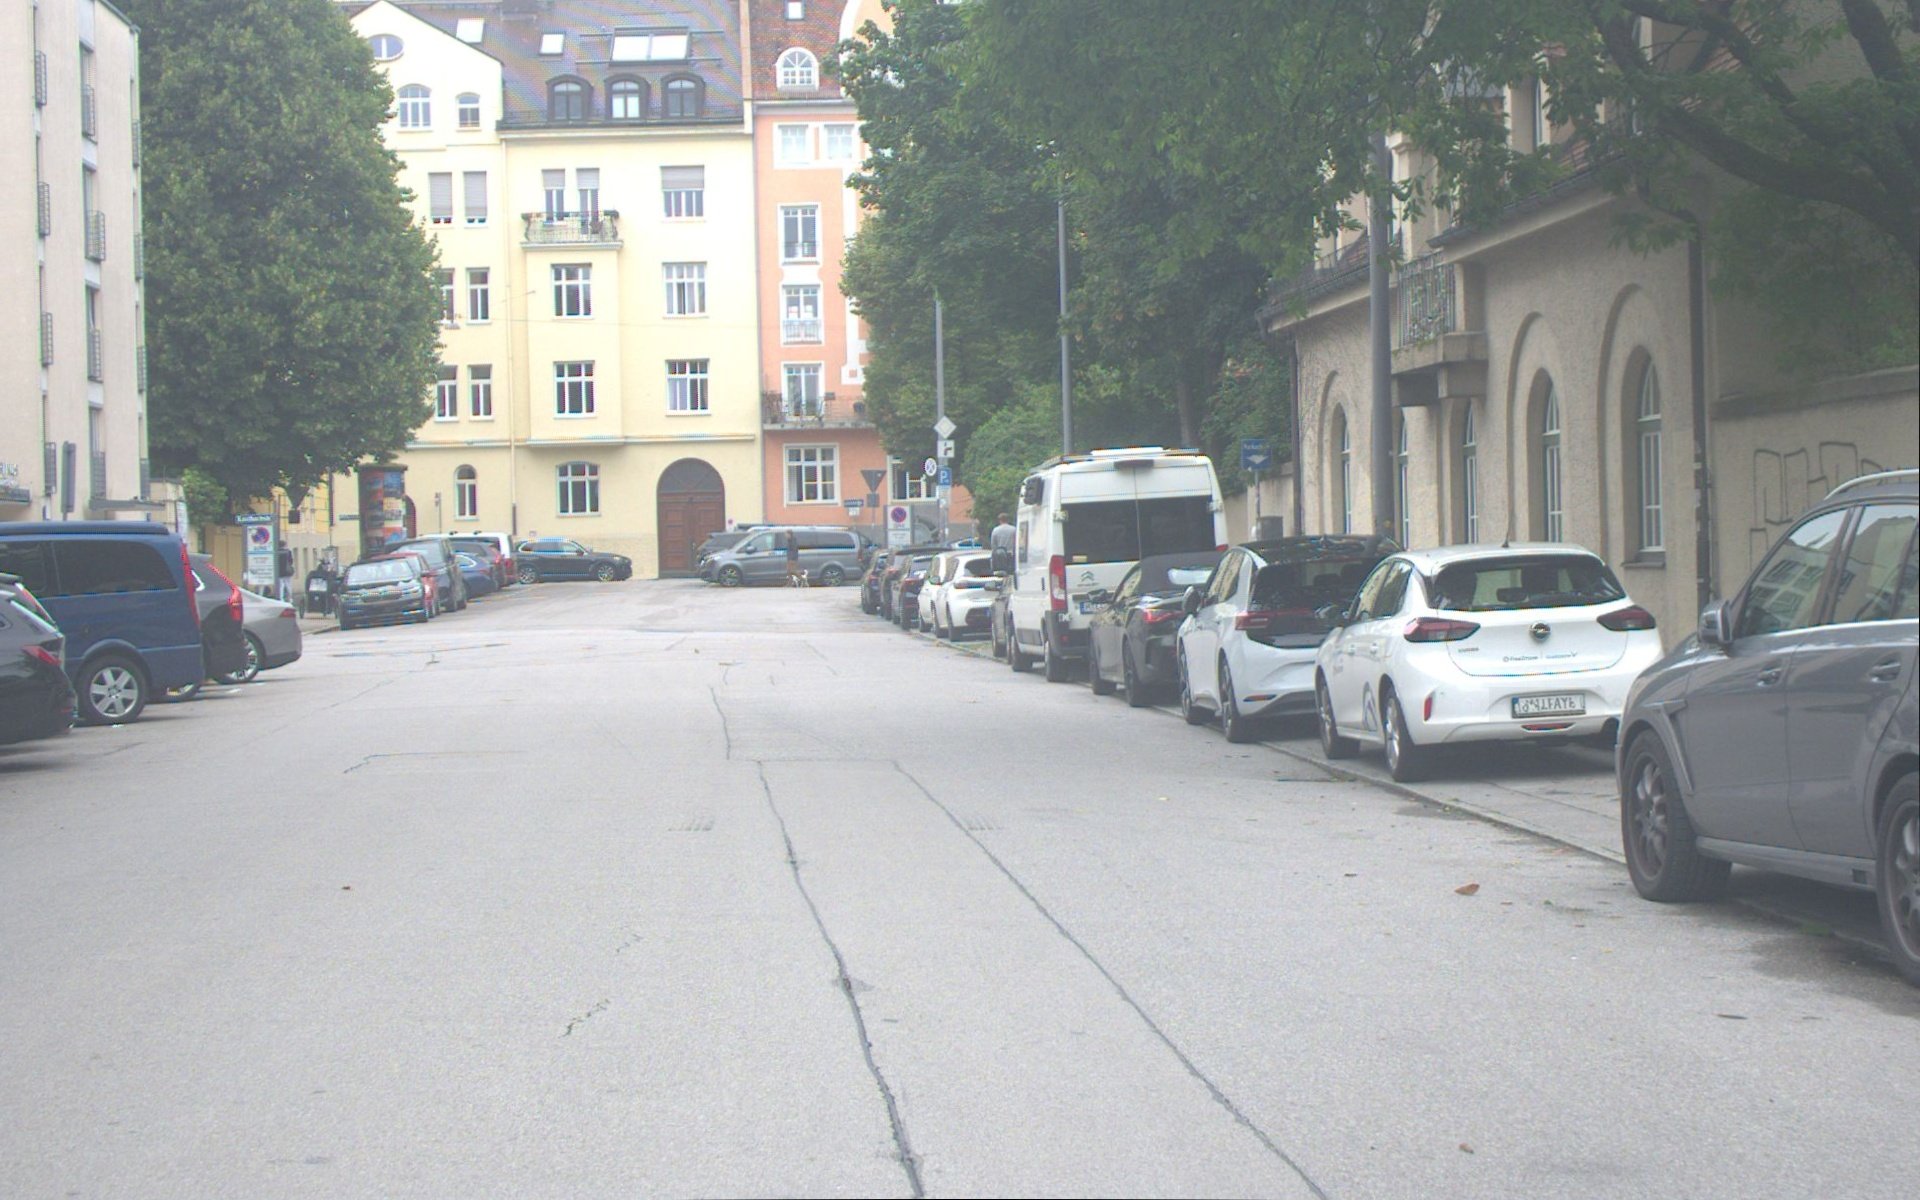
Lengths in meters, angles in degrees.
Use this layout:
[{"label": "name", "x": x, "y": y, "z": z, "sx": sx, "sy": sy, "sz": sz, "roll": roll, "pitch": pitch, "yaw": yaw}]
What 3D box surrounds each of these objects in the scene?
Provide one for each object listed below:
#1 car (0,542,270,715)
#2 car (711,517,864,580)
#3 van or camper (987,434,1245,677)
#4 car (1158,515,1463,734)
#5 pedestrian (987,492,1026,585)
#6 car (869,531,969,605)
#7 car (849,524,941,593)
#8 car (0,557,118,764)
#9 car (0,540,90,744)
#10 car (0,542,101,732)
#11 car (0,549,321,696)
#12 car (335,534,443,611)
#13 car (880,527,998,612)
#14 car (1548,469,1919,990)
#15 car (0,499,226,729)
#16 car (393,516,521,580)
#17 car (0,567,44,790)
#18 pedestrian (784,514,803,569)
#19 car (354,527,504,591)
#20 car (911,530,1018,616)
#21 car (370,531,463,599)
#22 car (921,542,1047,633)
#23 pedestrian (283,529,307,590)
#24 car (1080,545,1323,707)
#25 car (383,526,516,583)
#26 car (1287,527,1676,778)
[{"label": "car", "x": -9.904, "y": 0.320, "z": 37.823, "sx": 4.107, "sy": 1.702, "sz": 1.737, "roll": -4, "pitch": 2, "yaw": -34}, {"label": "car", "x": -5.456, "y": -1.621, "z": 108.184, "sx": 4.703, "sy": 1.874, "sz": 1.841, "roll": -1, "pitch": 1, "yaw": -5}, {"label": "van or camper", "x": 1.727, "y": -0.551, "z": 40.358, "sx": 2.192, "sy": 2.541, "sz": 5.729, "roll": -3, "pitch": 1, "yaw": -5}, {"label": "car", "x": 2.740, "y": 0.135, "z": 27.746, "sx": 1.707, "sy": 1.532, "sz": 4.240, "roll": -3, "pitch": 1, "yaw": -3}, {"label": "pedestrian", "x": 1.014, "y": -1.353, "z": 75.059, "sx": 0.773, "sy": 2.007, "sz": 0.563, "roll": -1, "pitch": 1, "yaw": -4}, {"label": "car", "x": -0.899, "y": -0.703, "z": 73.304, "sx": 1.670, "sy": 1.339, "sz": 3.839, "roll": -3, "pitch": 3, "yaw": -7}, {"label": "car", "x": -1.505, "y": -0.961, "z": 78.191, "sx": 1.670, "sy": 1.339, "sz": 3.839, "roll": -3, "pitch": 3, "yaw": -7}, {"label": "car", "x": -8.489, "y": 0.522, "z": 25.135, "sx": 4.203, "sy": 1.456, "sz": 1.738, "roll": -3, "pitch": 2, "yaw": -25}, {"label": "car", "x": -9.364, "y": 0.430, "z": 27.661, "sx": 4.204, "sy": 1.604, "sz": 1.737, "roll": -4, "pitch": 2, "yaw": -29}, {"label": "car", "x": -9.841, "y": 0.412, "z": 29.873, "sx": 4.204, "sy": 1.604, "sz": 1.737, "roll": -4, "pitch": 2, "yaw": -33}, {"label": "car", "x": -10.490, "y": 0.261, "z": 44.019, "sx": 4.107, "sy": 1.604, "sz": 1.737, "roll": -4, "pitch": 2, "yaw": -36}, {"label": "car", "x": -12.509, "y": -0.620, "z": 75.518, "sx": 1.834, "sy": 1.503, "sz": 4.001, "roll": -4, "pitch": 2, "yaw": -4}, {"label": "car", "x": -0.443, "y": -0.624, "z": 67.864, "sx": 1.802, "sy": 1.461, "sz": 3.839, "roll": -3, "pitch": 3, "yaw": -8}, {"label": "car", "x": 3.940, "y": 0.350, "z": 13.059, "sx": 1.993, "sy": 1.705, "sz": 4.886, "roll": -3, "pitch": 2, "yaw": -7}, {"label": "car", "x": -9.353, "y": 0.171, "z": 32.697, "sx": 4.204, "sy": 2.059, "sz": 1.737, "roll": -4, "pitch": 2, "yaw": -33}, {"label": "car", "x": -16.688, "y": -1.731, "z": 114.222, "sx": 3.986, "sy": 1.793, "sz": 1.840, "roll": -4, "pitch": 1, "yaw": -4}, {"label": "car", "x": -8.339, "y": 0.631, "z": 22.360, "sx": 4.205, "sy": 1.456, "sz": 1.737, "roll": -4, "pitch": 2, "yaw": -34}, {"label": "pedestrian", "x": -5.044, "y": -1.778, "z": 104.206, "sx": 0.463, "sy": 1.651, "sz": 0.573, "roll": -1, "pitch": 1, "yaw": -9}, {"label": "car", "x": -15.041, "y": -1.162, "z": 97.545, "sx": 3.986, "sy": 1.503, "sz": 1.840, "roll": -4, "pitch": 1, "yaw": -4}, {"label": "car", "x": 0.055, "y": -0.519, "z": 63.611, "sx": 1.707, "sy": 1.461, "sz": 3.838, "roll": -3, "pitch": 1, "yaw": -3}, {"label": "car", "x": -13.619, "y": -0.898, "z": 86.321, "sx": 1.834, "sy": 1.503, "sz": 4.001, "roll": -4, "pitch": 2, "yaw": -4}, {"label": "car", "x": 0.377, "y": -0.243, "z": 58.683, "sx": 1.707, "sy": 1.403, "sz": 4.131, "roll": -3, "pitch": 1, "yaw": -5}, {"label": "pedestrian", "x": -18.401, "y": -1.122, "z": 95.166, "sx": 0.571, "sy": 1.651, "sz": 0.465, "roll": -1, "pitch": 1, "yaw": -3}, {"label": "car", "x": 2.280, "y": 0.202, "z": 33.527, "sx": 1.707, "sy": 1.364, "sz": 4.441, "roll": -3, "pitch": 1, "yaw": -4}, {"label": "car", "x": -16.232, "y": -1.469, "z": 109.455, "sx": 3.986, "sy": 1.503, "sz": 1.840, "roll": -4, "pitch": 1, "yaw": -4}, {"label": "car", "x": 3.324, "y": 0.286, "z": 22.634, "sx": 1.685, "sy": 1.436, "sz": 4.001, "roll": -2, "pitch": 1, "yaw": -3}]
